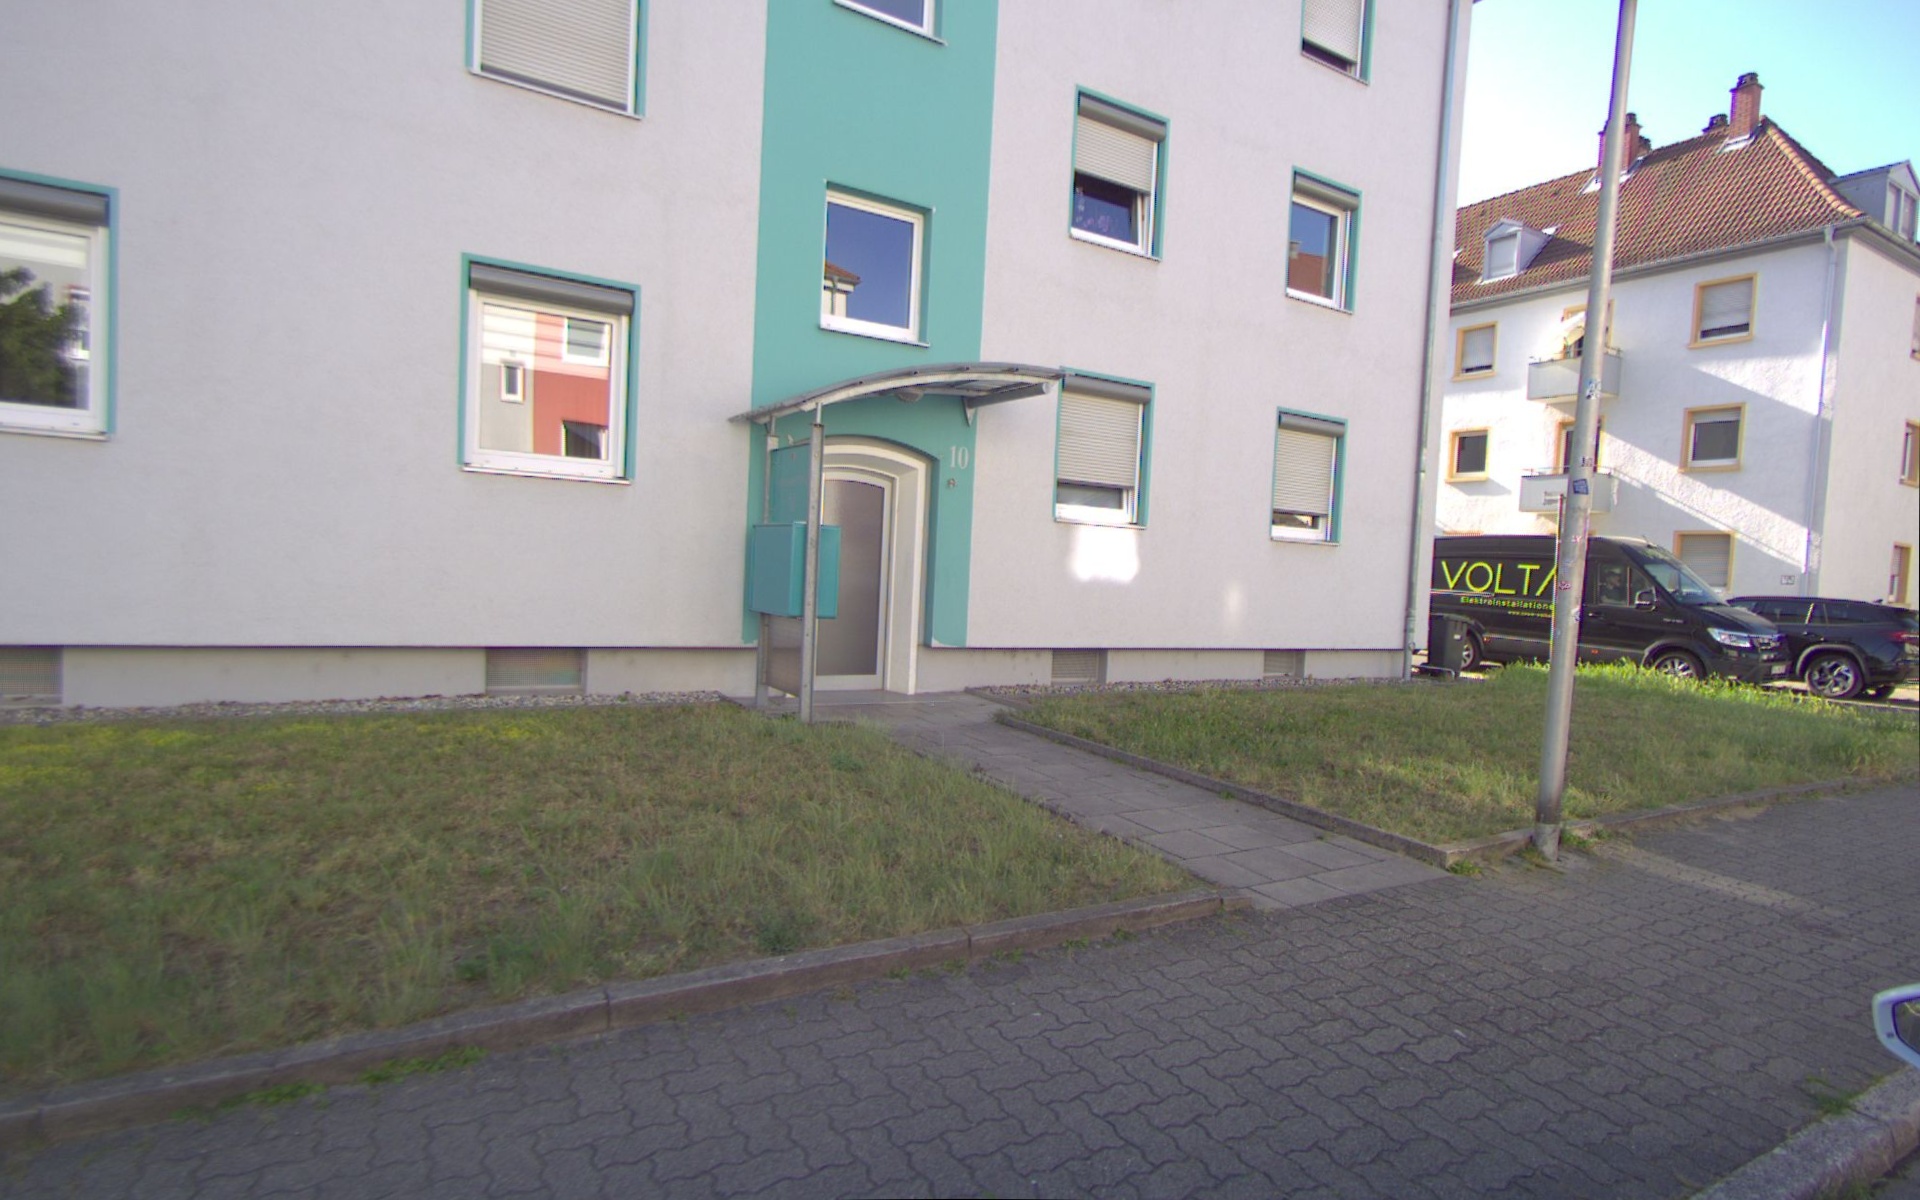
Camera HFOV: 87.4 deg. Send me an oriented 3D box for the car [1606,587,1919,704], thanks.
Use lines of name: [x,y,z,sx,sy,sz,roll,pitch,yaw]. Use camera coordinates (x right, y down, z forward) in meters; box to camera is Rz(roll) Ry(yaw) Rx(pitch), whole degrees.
car: [14.371,0.720,17.899,1.700,1.685,4.465,3,1,-31]

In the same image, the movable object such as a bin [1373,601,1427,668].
movable object such as a bin: [6.604,0.516,15.077,0.526,0.962,0.495,1,2,-31]

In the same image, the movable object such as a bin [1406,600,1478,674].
movable object such as a bin: [7.015,0.525,14.614,0.707,1.005,0.609,1,3,-32]

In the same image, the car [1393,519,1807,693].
car: [10.990,0.040,17.903,1.978,2.579,5.909,1,1,-31]
